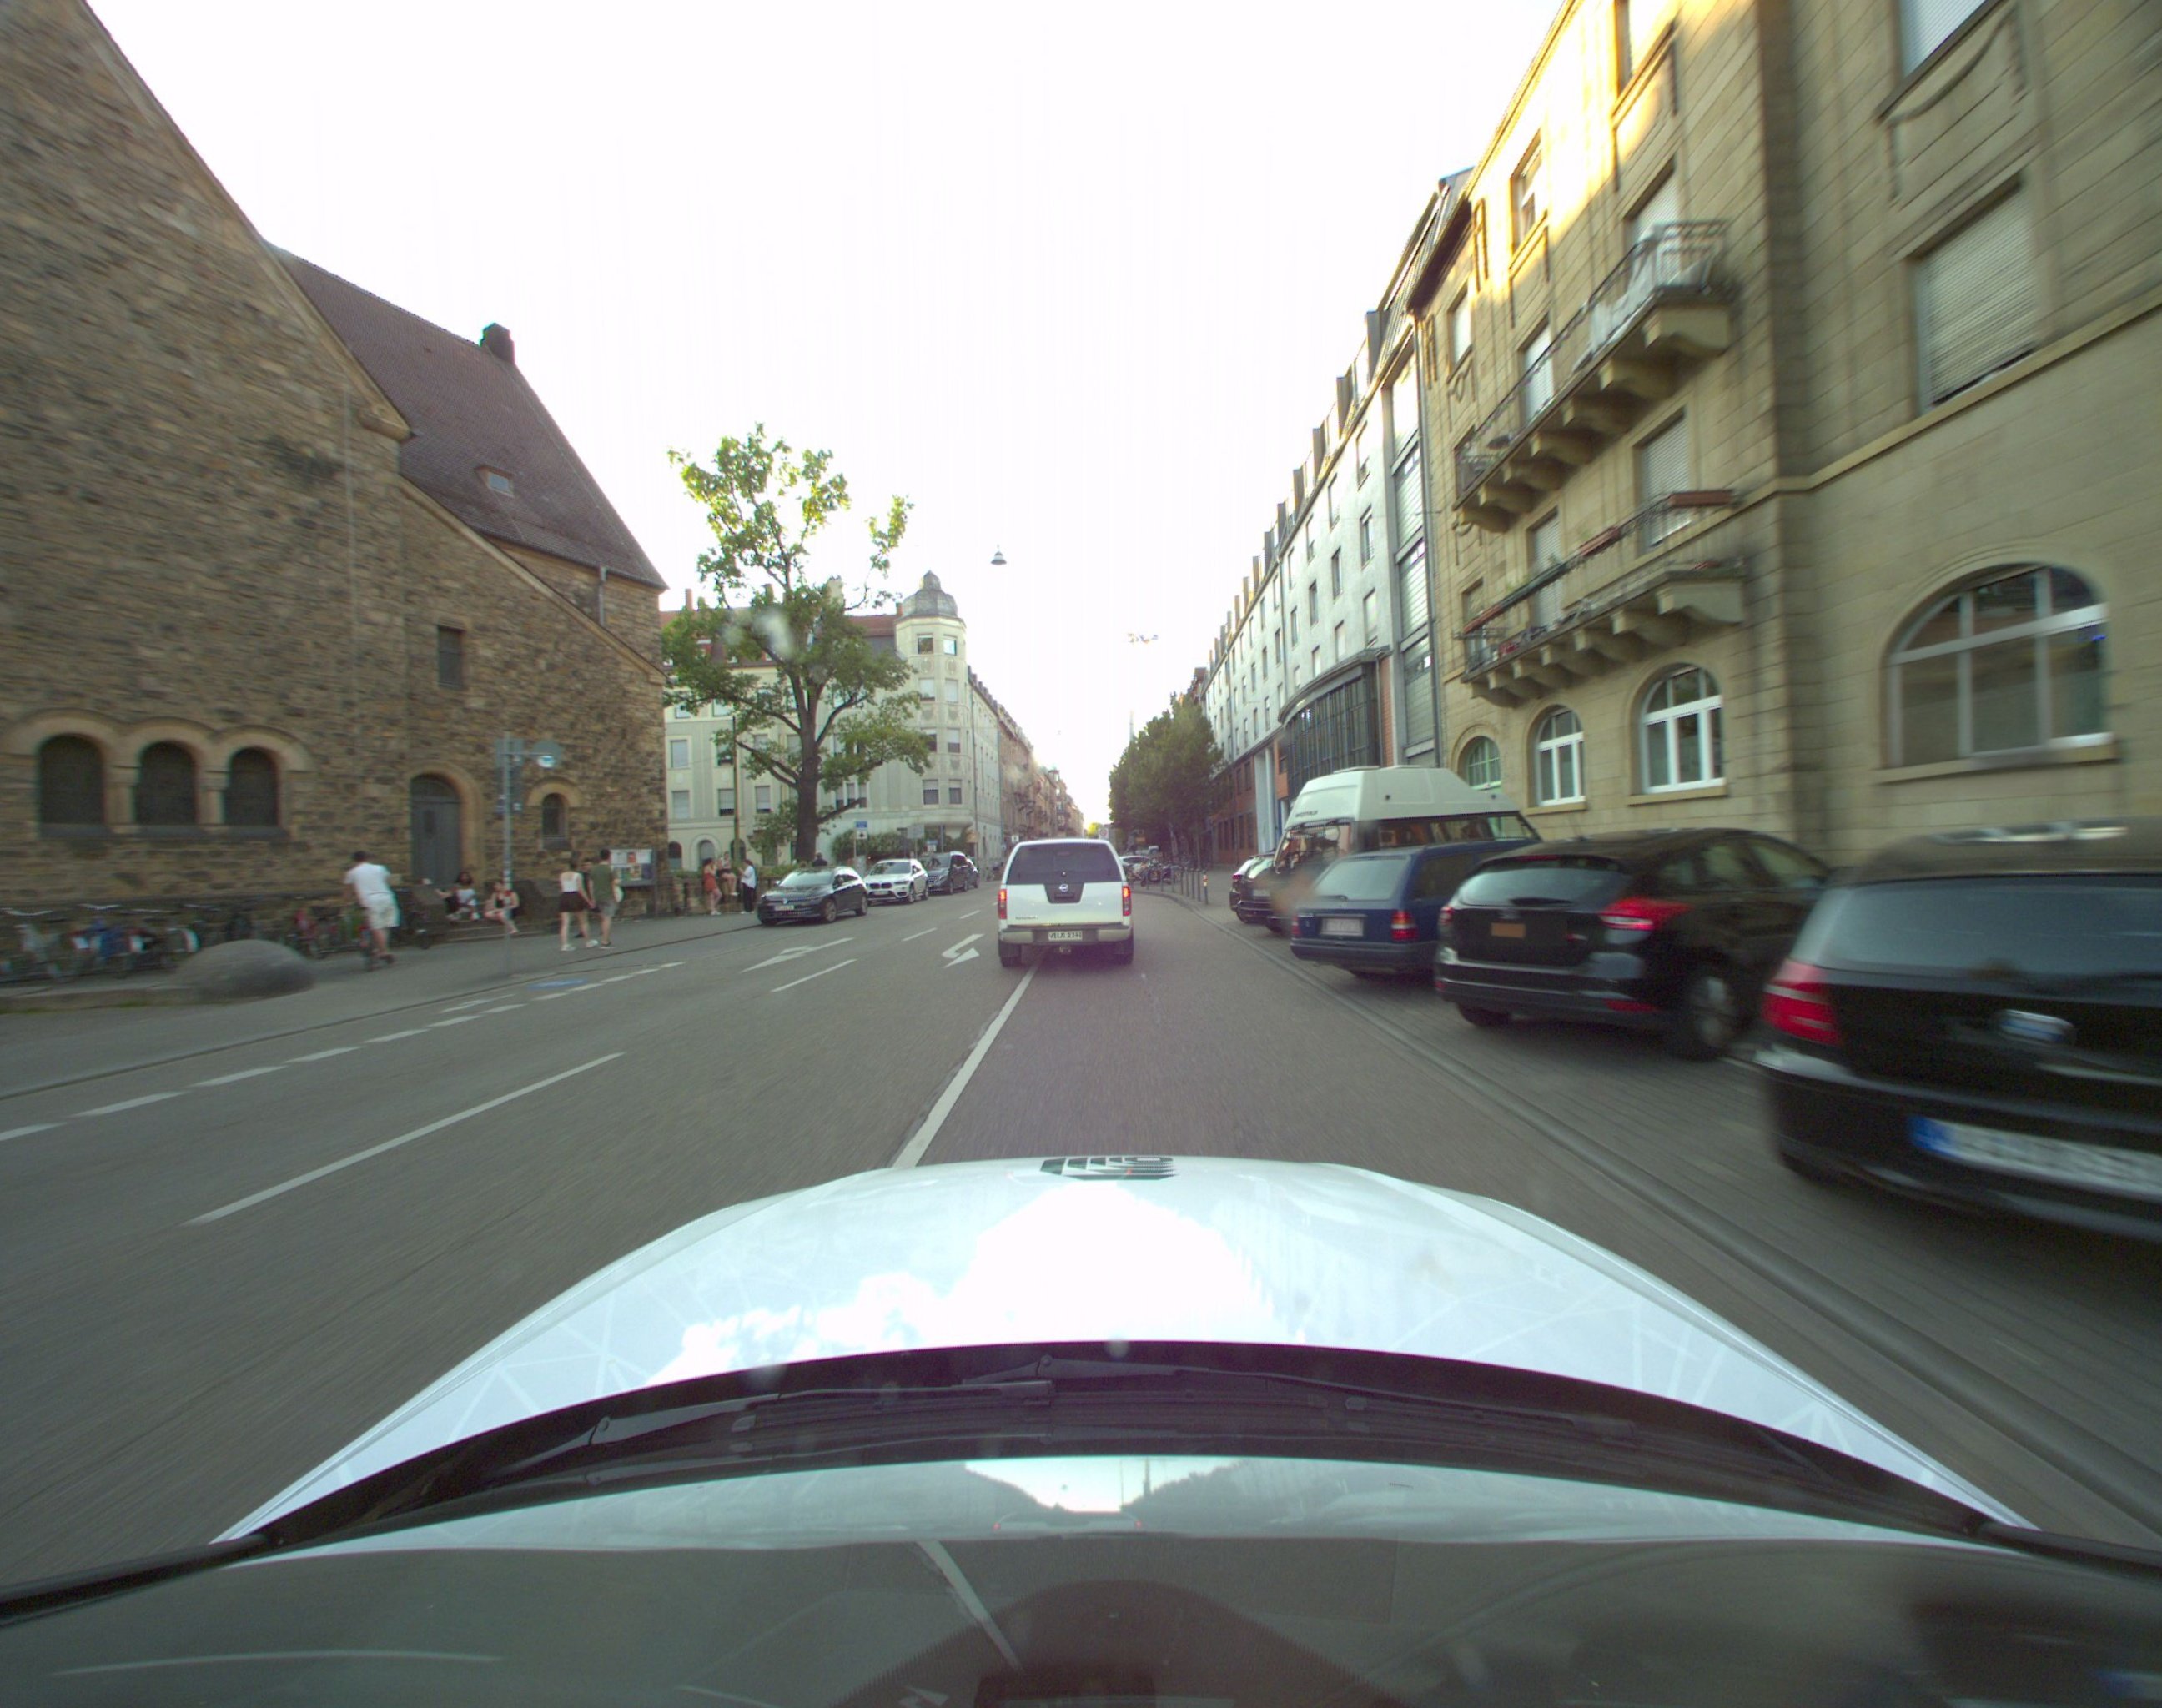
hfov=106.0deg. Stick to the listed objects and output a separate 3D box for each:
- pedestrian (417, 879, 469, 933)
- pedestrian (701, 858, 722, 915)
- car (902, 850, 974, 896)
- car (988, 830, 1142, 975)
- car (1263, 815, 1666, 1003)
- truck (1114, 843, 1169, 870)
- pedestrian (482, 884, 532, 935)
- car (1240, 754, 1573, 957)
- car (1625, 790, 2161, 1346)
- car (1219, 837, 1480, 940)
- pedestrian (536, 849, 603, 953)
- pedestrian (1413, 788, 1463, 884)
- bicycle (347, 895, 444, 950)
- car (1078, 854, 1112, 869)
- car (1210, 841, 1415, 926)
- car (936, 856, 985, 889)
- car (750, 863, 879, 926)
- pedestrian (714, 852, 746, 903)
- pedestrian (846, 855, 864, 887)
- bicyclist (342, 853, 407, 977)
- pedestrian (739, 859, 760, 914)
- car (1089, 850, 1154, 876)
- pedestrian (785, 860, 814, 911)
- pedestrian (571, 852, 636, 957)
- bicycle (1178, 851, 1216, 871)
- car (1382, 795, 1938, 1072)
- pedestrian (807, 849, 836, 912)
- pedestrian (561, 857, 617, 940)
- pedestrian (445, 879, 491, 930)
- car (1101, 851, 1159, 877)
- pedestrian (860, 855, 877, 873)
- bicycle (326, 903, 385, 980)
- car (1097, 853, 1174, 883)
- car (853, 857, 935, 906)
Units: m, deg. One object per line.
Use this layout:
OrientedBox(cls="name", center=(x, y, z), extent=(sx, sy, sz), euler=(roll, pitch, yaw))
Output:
OrientedBox(cls="pedestrian", center=(-13.173, 1.068, 16.824), extent=(0.741, 1.048, 0.515), euler=(-2, 0, -28))
OrientedBox(cls="pedestrian", center=(-10.967, 0.954, 24.187), extent=(0.417, 1.674, 0.542), euler=(-1, -1, -38))
OrientedBox(cls="car", center=(-6.386, 0.813, 37.130), extent=(1.985, 1.866, 5.294), euler=(-2, 0, 3))
OrientedBox(cls="car", center=(-0.138, 0.631, 12.601), extent=(1.926, 1.794, 4.623), euler=(-1, 0, 1))
OrientedBox(cls="car", center=(4.418, 0.480, 9.244), extent=(4.411, 1.486, 1.826), euler=(-5, 0, -29))
OrientedBox(cls="truck", center=(7.099, 0.320, 95.341), extent=(6.293, 2.977, 2.266), euler=(-1, -3, 3))
OrientedBox(cls="pedestrian", center=(-12.453, 1.197, 17.678), extent=(0.512, 1.056, 0.703), euler=(-2, 0, 19))
OrientedBox(cls="car", center=(4.911, -0.027, 12.165), extent=(4.737, 2.547, 1.901), euler=(-2, -1, -28))
OrientedBox(cls="car", center=(4.430, 0.501, 3.575), extent=(4.050, 1.431, 1.849), euler=(-5, 0, -33))
OrientedBox(cls="car", center=(4.861, 0.547, 14.687), extent=(4.365, 1.502, 1.897), euler=(-2, 0, -26))
OrientedBox(cls="pedestrian", center=(-9.513, 0.845, 15.182), extent=(0.571, 1.856, 0.988), euler=(-2, 0, -1))
OrientedBox(cls="pedestrian", center=(7.834, -0.398, 17.892), extent=(0.604, 2.013, 0.858), euler=(4, 1, 4))
OrientedBox(cls="bicycle", center=(-13.126, 1.312, 15.588), extent=(1.864, 0.989, 0.443), euler=(-2, -1, 17))
OrientedBox(cls="car", center=(1.782, 0.968, 105.806), extent=(4.172, 1.780, 1.823), euler=(-2, 0, 7))
OrientedBox(cls="car", center=(4.881, 0.553, 17.068), extent=(4.081, 1.492, 1.707), euler=(-2, 0, -29))
OrientedBox(cls="car", center=(-6.204, 0.943, 42.259), extent=(1.633, 1.555, 4.009), euler=(-2, 0, 4))
OrientedBox(cls="car", center=(-7.031, 1.016, 22.002), extent=(1.775, 1.435, 4.320), euler=(-2, 0, 3))
OrientedBox(cls="pedestrian", center=(-10.758, 0.717, 24.945), extent=(0.644, 1.545, 0.589), euler=(-2, -1, 25))
OrientedBox(cls="pedestrian", center=(-12.718, 0.950, 45.779), extent=(0.704, 1.721, 0.837), euler=(-3, -1, 0))
OrientedBox(cls="bicyclist", center=(-11.262, 0.933, 13.004), extent=(0.711, 1.880, 0.932), euler=(-1, 0, -37))
OrientedBox(cls="pedestrian", center=(-10.014, 0.976, 24.611), extent=(0.417, 1.622, 0.542), euler=(-1, -1, -38))
OrientedBox(cls="car", center=(2.684, 0.582, 53.743), extent=(4.011, 1.537, 1.620), euler=(-2, 0, -29))
OrientedBox(cls="pedestrian", center=(-8.771, 0.969, 25.383), extent=(0.580, 1.552, 0.839), euler=(-1, 0, -1))
OrientedBox(cls="pedestrian", center=(-8.877, 0.908, 15.168), extent=(0.645, 1.879, 0.891), euler=(-2, 0, -1))
OrientedBox(cls="bicycle", center=(7.697, 0.482, 54.079), extent=(2.336, 1.099, 0.681), euler=(-6, -1, 4))
OrientedBox(cls="car", center=(4.658, 0.453, 6.508), extent=(4.130, 1.546, 1.779), euler=(-3, -2, -26))
OrientedBox(cls="pedestrian", center=(-8.103, 0.825, 25.424), extent=(0.580, 1.905, 0.803), euler=(-2, 0, -1))
OrientedBox(cls="pedestrian", center=(-10.703, 0.950, 17.726), extent=(0.711, 1.725, 0.692), euler=(-2, -1, 3))
OrientedBox(cls="pedestrian", center=(-13.209, 1.086, 17.552), extent=(0.493, 1.048, 0.611), euler=(-2, 0, 22))
OrientedBox(cls="car", center=(3.419, 0.681, 56.442), extent=(3.618, 1.580, 1.699), euler=(-2, 0, -31))
OrientedBox(cls="pedestrian", center=(-11.952, 0.539, 45.834), extent=(0.704, 0.980, 0.837), euler=(-3, 0, 0))
OrientedBox(cls="bicycle", center=(-11.420, 1.330, 12.853), extent=(0.556, 1.012, 2.163), euler=(-1, 0, -38))
OrientedBox(cls="car", center=(3.079, 0.785, 45.850), extent=(4.010, 1.506, 1.754), euler=(-2, 0, -28))
OrientedBox(cls="car", center=(-6.786, 0.957, 30.012), extent=(1.865, 1.592, 4.469), euler=(-2, 0, 0))
